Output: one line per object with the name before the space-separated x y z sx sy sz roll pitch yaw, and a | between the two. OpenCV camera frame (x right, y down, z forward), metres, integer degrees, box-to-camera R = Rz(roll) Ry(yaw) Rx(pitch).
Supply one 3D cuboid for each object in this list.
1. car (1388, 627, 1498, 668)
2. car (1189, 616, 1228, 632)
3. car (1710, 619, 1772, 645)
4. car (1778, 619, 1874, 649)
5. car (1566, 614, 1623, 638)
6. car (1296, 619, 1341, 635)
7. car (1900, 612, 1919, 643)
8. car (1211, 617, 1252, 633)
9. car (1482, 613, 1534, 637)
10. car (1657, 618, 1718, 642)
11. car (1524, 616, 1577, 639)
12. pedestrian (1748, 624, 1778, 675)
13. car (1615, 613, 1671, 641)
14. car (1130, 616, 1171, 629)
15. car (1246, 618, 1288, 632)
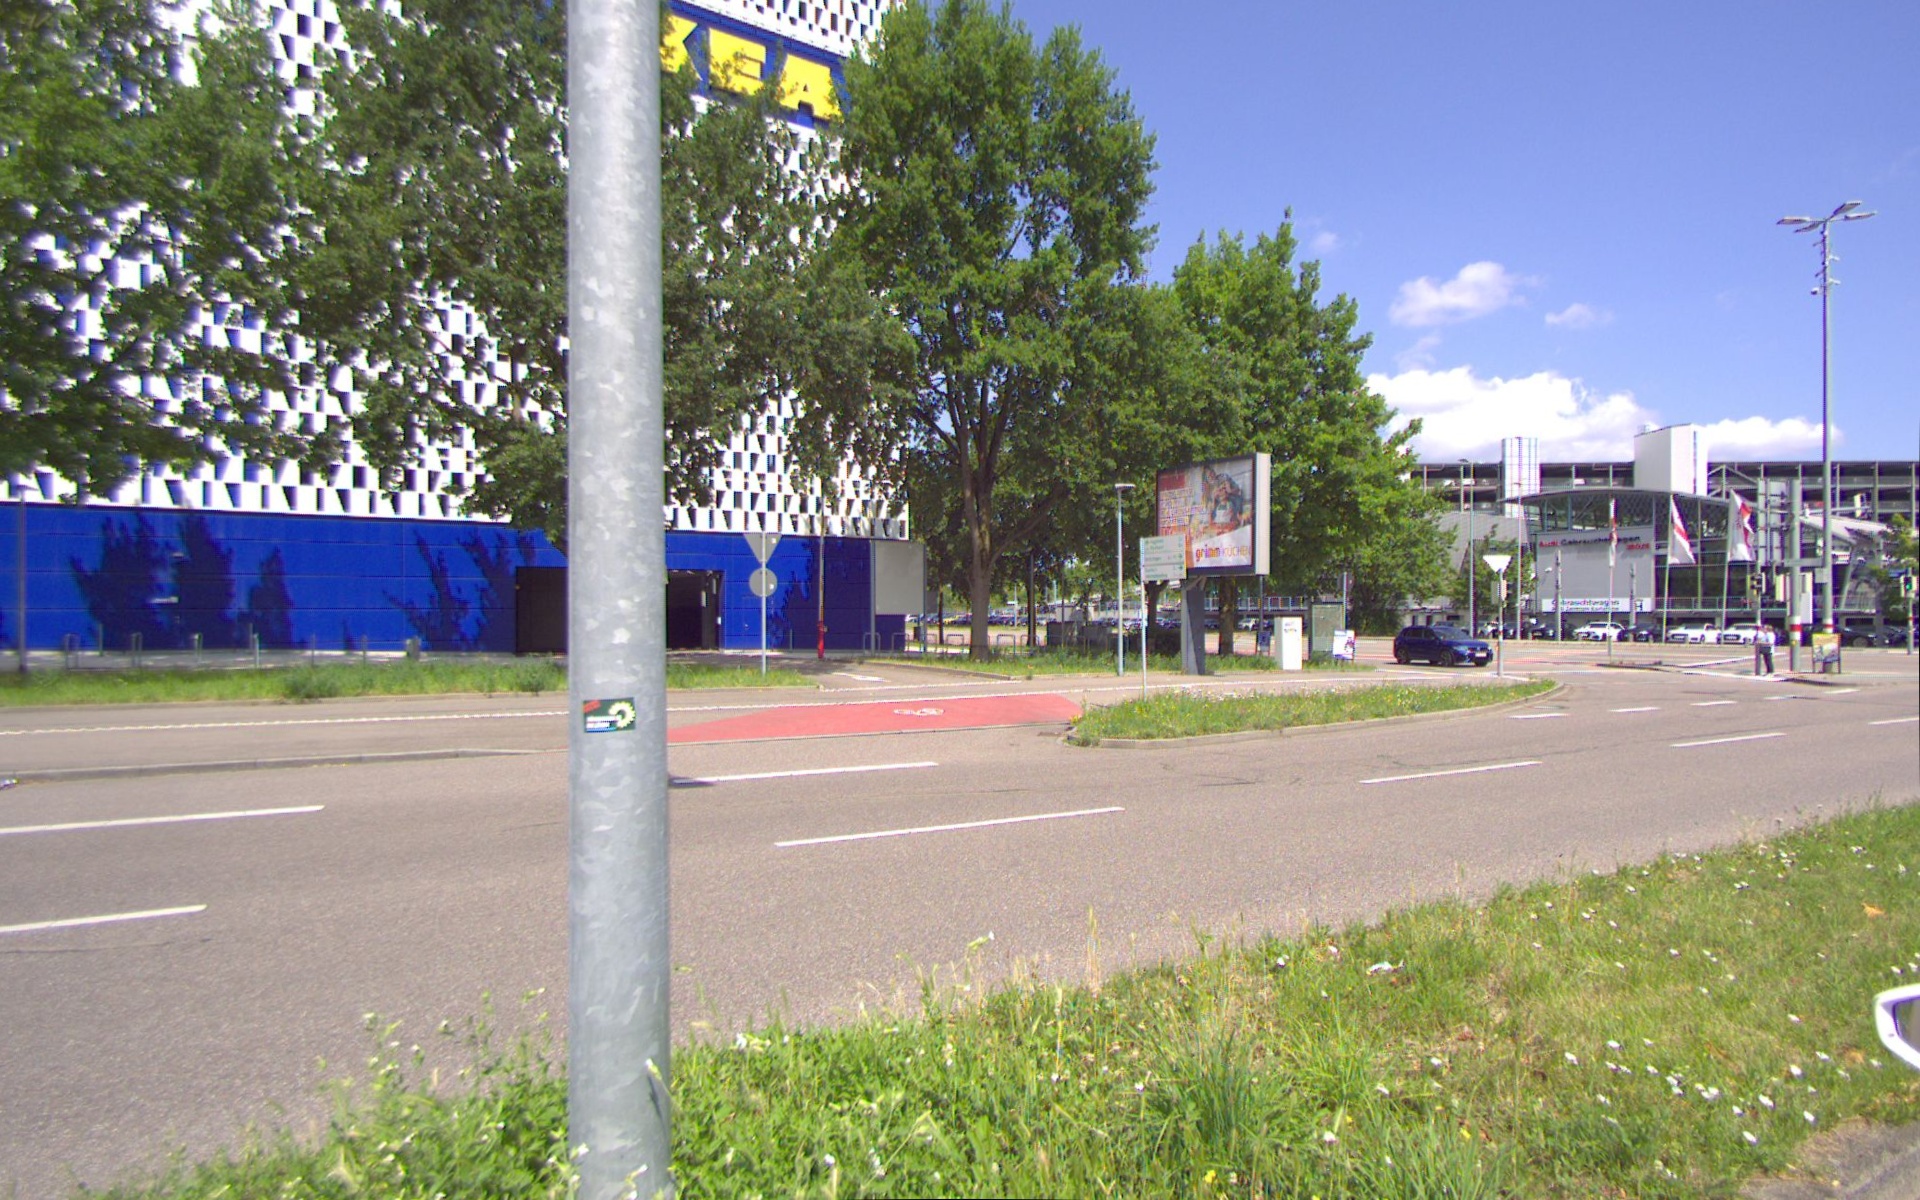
car | 19.959 1.933 41.688 1.967 1.530 3.988 -2 -1 -15
car | 23.188 2.255 93.668 3.462 1.409 1.584 1 0 -30
car | 46.563 1.879 59.847 3.987 1.469 1.765 0 0 -34
car | 48.311 1.887 56.108 1.662 1.533 3.768 0 0 -34
car | 42.078 1.725 66.571 3.661 1.506 1.868 0 0 -33
car | 29.082 2.194 81.523 3.462 1.207 1.584 1 0 -30
car | 50.661 1.467 52.818 1.798 1.573 3.977 1 0 43
car | 24.498 2.282 90.496 3.462 1.409 1.584 1 0 -30
car | 39.717 1.813 72.804 3.753 1.686 1.804 1 0 -34
car | 44.858 1.820 61.942 3.712 1.394 1.896 0 0 -34
car | 40.572 1.845 68.968 3.662 1.506 1.717 0 0 -34
pedestrian | 24.581 1.497 30.758 0.502 1.532 0.470 1 0 -4
car | 43.592 1.712 64.084 3.579 1.683 1.746 0 0 -34
car | 19.582 2.316 103.134 3.952 1.271 1.789 0 0 -30
car | 26.611 2.189 87.152 3.462 1.207 1.584 1 -1 -30
